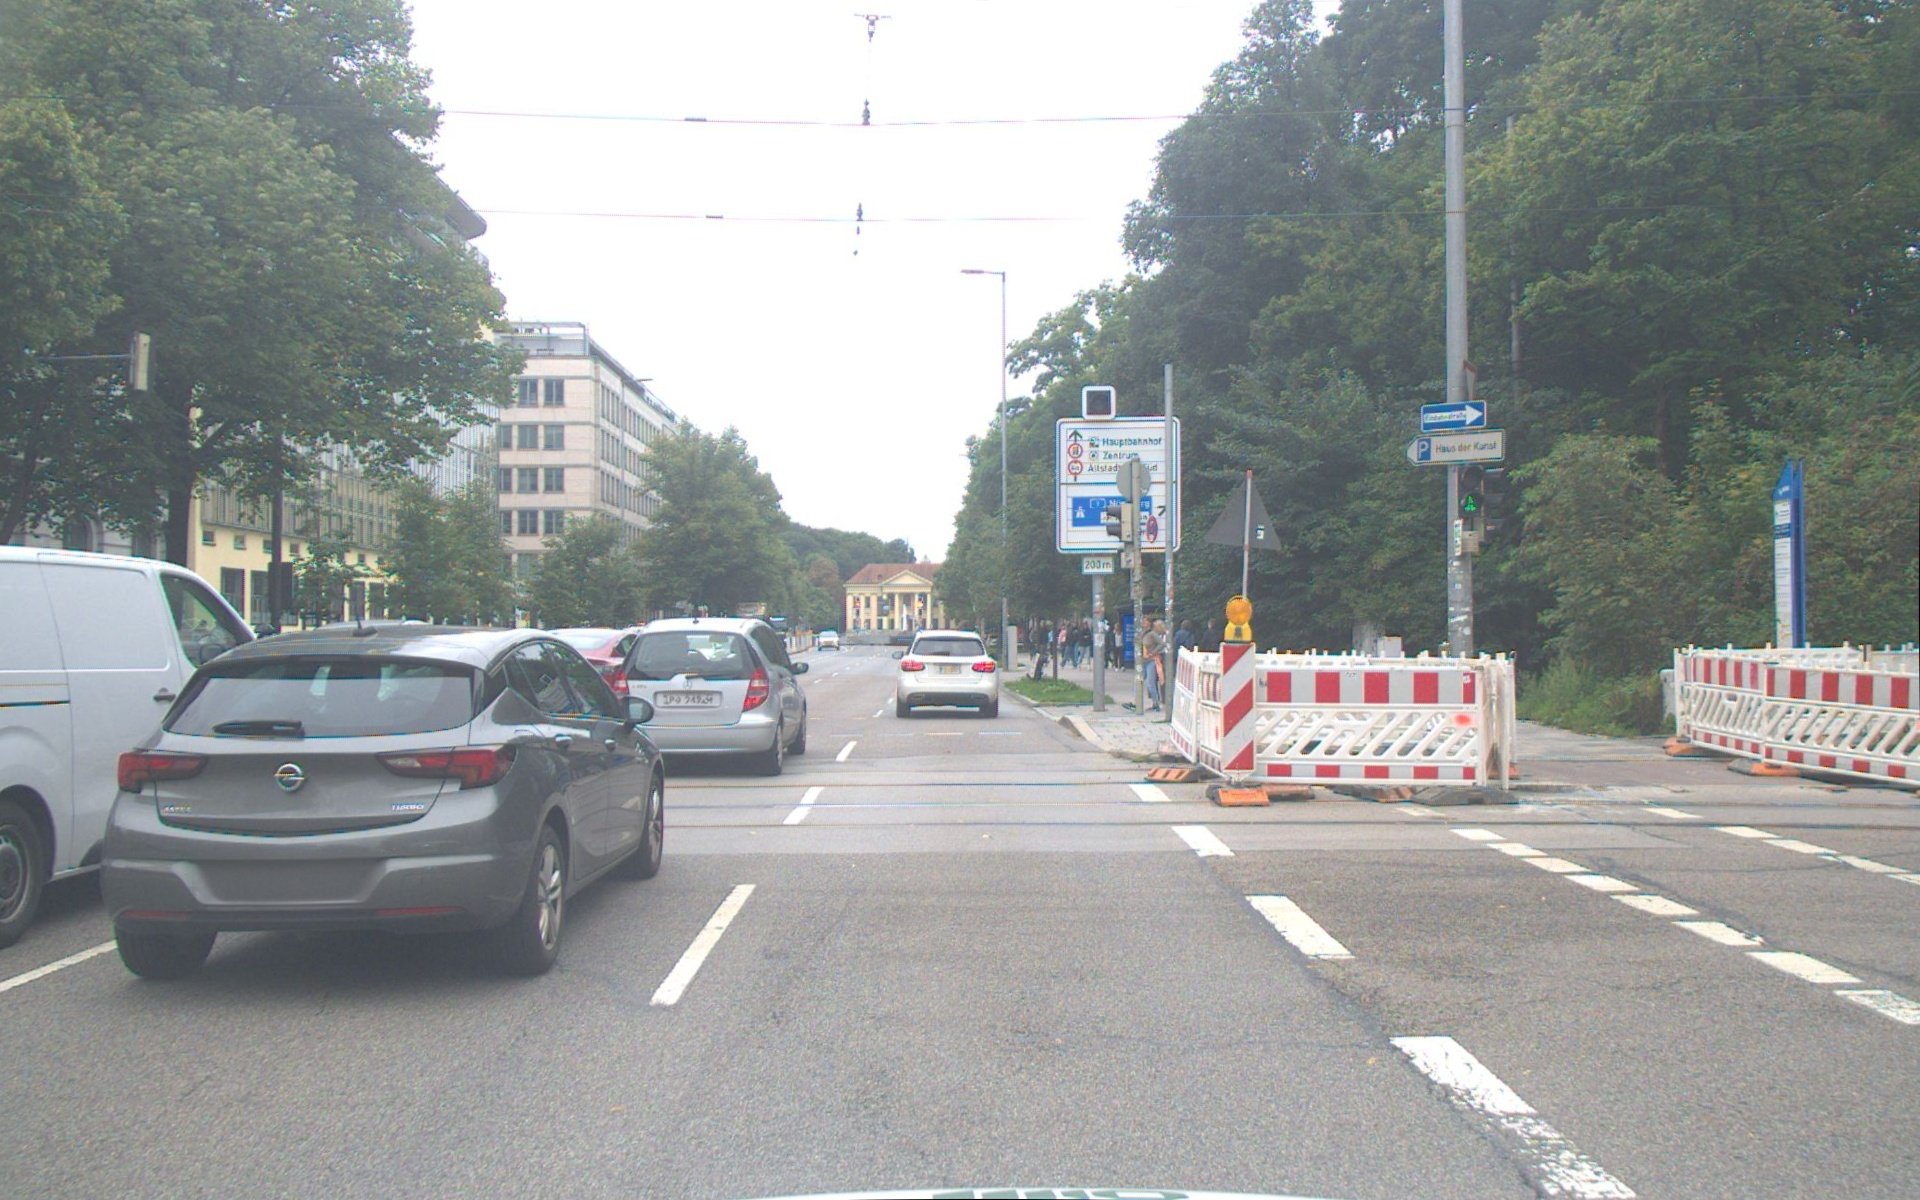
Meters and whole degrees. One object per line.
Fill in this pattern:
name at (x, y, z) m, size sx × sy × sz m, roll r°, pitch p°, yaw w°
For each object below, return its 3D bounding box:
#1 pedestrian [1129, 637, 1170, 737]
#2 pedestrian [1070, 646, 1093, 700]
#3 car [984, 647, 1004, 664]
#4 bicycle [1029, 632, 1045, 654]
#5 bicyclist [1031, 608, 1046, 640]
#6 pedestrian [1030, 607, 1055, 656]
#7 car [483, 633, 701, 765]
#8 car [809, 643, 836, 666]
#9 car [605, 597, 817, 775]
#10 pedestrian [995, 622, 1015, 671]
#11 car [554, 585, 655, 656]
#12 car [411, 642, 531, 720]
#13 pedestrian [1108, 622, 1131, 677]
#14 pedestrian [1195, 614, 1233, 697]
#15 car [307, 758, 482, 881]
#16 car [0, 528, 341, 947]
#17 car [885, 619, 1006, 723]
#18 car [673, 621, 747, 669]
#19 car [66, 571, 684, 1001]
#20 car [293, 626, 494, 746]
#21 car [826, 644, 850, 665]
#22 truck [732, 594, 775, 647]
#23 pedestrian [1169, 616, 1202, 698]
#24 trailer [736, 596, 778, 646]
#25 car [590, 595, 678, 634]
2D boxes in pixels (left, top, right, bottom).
pedestrian at (3.451, 1.573, 30.156) m, size 0.597 × 1.792 × 0.635 m, roll 0°, pitch -1°, yaw -7°
pedestrian at (4.388, 2.629, 59.753) m, size 0.693 × 1.949 × 0.956 m, roll 1°, pitch -2°, yaw -1°
car at (3.272, 5.374, 160.744) m, size 1.790 × 1.577 × 4.750 m, roll -1°, pitch -2°, yaw 0°
bicycle at (3.900, 2.180, 83.596) m, size 0.661 × 1.049 × 2.012 m, roll 1°, pitch -2°, yaw -1°
bicyclist at (3.957, 1.199, 83.591) m, size 0.693 × 1.589 × 0.638 m, roll 1°, pitch -1°, yaw -1°
pedestrian at (3.271, 1.237, 65.352) m, size 0.789 × 1.914 × 0.542 m, roll 0°, pitch -2°, yaw 35°
car at (-5.177, 1.359, 23.815) m, size 1.741 × 1.683 × 4.002 m, roll 1°, pitch -2°, yaw 8°
car at (-11.525, 4.539, 138.754) m, size 1.819 × 1.779 × 4.628 m, roll -2°, pitch -1°, yaw 0°
car at (-2.573, 0.884, 17.992) m, size 1.743 × 1.683 × 3.998 m, roll 1°, pitch -2°, yaw -1°
pedestrian at (1.732, 1.788, 63.143) m, size 0.693 × 1.840 × 0.638 m, roll 1°, pitch -2°, yaw -1°
car at (-8.436, 0.503, 39.493) m, size 1.601 × 1.599 × 3.944 m, roll 0°, pitch -1°, yaw -1°
car at (-11.260, 1.832, 38.362) m, size 1.709 × 1.624 × 3.998 m, roll -2°, pitch -1°, yaw -3°
pedestrian at (5.736, 1.792, 59.649) m, size 0.693 × 1.949 × 0.956 m, roll 1°, pitch -2°, yaw -1°
pedestrian at (5.851, 1.276, 38.155) m, size 0.735 × 1.871 × 0.756 m, roll 1°, pitch -2°, yaw 0°
car at (-9.344, 3.594, 27.640) m, size 1.601 × 1.599 × 3.944 m, roll 0°, pitch -1°, yaw -1°
car at (-5.282, 0.677, 9.236) m, size 1.860 × 1.880 × 4.953 m, roll 0°, pitch -2°, yaw -1°
car at (-0.326, 1.221, 29.221) m, size 1.745 × 1.673 × 3.994 m, roll 1°, pitch -2°, yaw -6°
car at (-8.232, 1.479, 54.789) m, size 1.731 × 1.448 × 4.746 m, roll -2°, pitch -1°, yaw 0°
car at (-2.527, 0.752, 8.228) m, size 1.675 × 1.579 × 3.998 m, roll 1°, pitch -2°, yaw -1°
car at (-8.121, 1.190, 24.052) m, size 1.601 × 1.599 × 3.944 m, roll 0°, pitch -1°, yaw -1°
car at (-10.521, 4.680, 142.598) m, size 1.783 × 1.758 × 3.880 m, roll 1°, pitch -2°, yaw -1°
truck at (-15.782, 1.628, 126.994) m, size 2.859 × 3.841 × 7.657 m, roll 1°, pitch -2°, yaw -5°
pedestrian at (5.222, 1.320, 38.359) m, size 0.657 × 1.871 × 0.641 m, roll 1°, pitch -2°, yaw 0°
trailer at (-16.439, 1.809, 134.626) m, size 2.892 × 3.806 × 11.756 m, roll 1°, pitch -2°, yaw -5°
car at (-21.810, 1.005, 110.937) m, size 5.569 × 2.581 × 2.154 m, roll 0°, pitch -2°, yaw -5°
